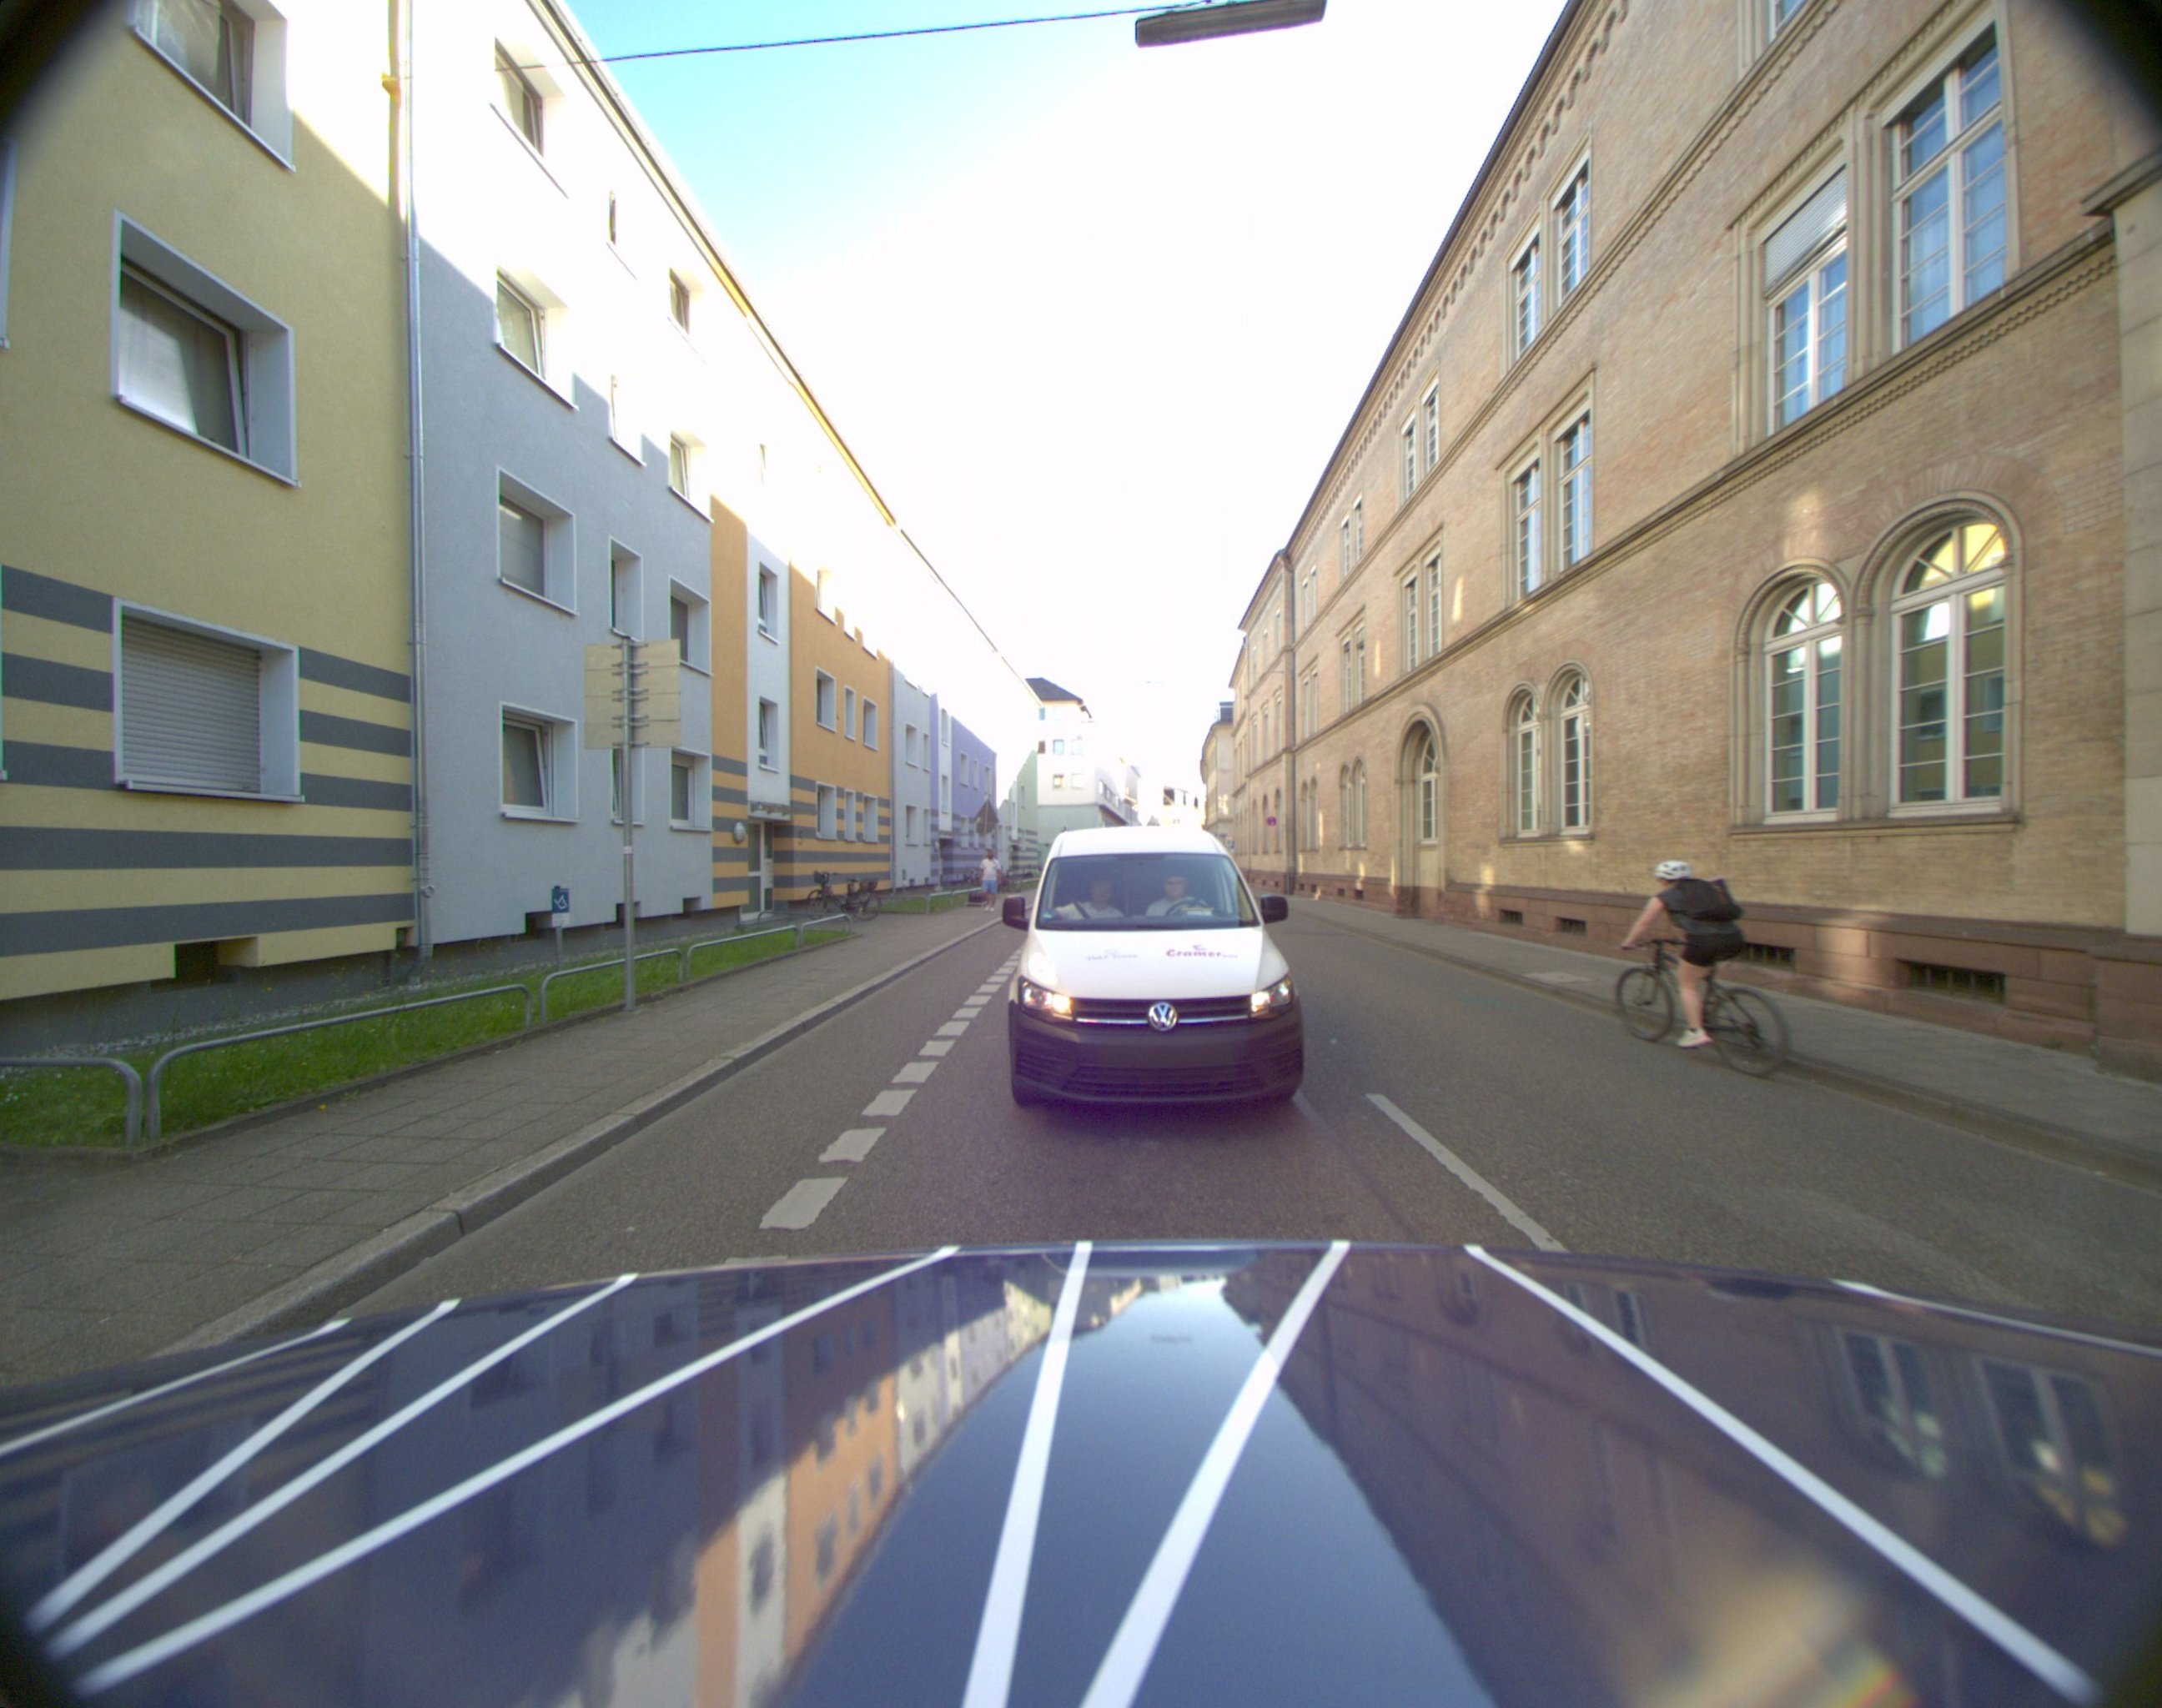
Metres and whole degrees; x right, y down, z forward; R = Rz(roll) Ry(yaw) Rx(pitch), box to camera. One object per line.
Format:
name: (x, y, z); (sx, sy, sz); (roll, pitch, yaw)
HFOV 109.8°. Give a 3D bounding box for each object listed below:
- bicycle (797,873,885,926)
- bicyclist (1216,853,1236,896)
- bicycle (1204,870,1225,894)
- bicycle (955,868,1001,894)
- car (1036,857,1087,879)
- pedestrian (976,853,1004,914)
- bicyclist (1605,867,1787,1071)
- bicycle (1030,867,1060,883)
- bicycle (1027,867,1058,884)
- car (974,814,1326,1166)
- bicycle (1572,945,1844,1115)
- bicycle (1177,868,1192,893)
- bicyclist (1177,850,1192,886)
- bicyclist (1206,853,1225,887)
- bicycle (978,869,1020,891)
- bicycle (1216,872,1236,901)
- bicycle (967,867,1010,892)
bicycle: (-5.391, 1.021, 17.115); (1.776, 1.118, 0.583); (1, 1, -1)
bicyclist: (5.396, 0.750, 28.320); (0.651, 1.558, 0.961); (2, 0, 8)
bicycle: (6.089, 1.247, 34.637); (0.651, 1.001, 1.876); (2, 0, 2)
bicycle: (-4.322, 1.123, 31.871); (1.775, 0.990, 0.584); (1, 1, 7)
car: (-1.590, 1.161, 63.488); (3.995, 1.681, 1.901); (-2, 1, 5)
pedestrian: (-2.524, 0.804, 21.189); (0.644, 1.662, 0.834); (1, 0, 3)
bicyclist: (4.819, 0.855, 6.019); (0.687, 1.467, 0.871); (2, 0, 1)
bicycle: (-2.231, 1.328, 47.622); (1.775, 0.934, 0.584); (1, 1, 7)
bicycle: (-2.311, 1.296, 46.085); (1.775, 0.934, 0.584); (1, 1, 7)
car: (0.394, 0.717, 6.623); (1.819, 1.825, 5.341); (0, 0, 1)
bicycle: (4.826, 1.302, 6.043); (0.687, 0.919, 1.766); (2, 0, 1)
bicycle: (4.407, 1.133, 32.470); (0.546, 1.001, 1.758); (2, 0, 7)
bicyclist: (4.436, 0.601, 32.609); (0.546, 1.524, 0.870); (2, 0, 7)
bicyclist: (6.116, 0.737, 34.604); (0.651, 1.500, 1.111); (2, 0, 2)
bicycle: (-3.655, 1.151, 33.830); (1.775, 0.934, 0.584); (1, 1, 7)
bicycle: (5.395, 1.188, 28.356); (0.651, 1.001, 1.808); (2, 0, 9)
bicycle: (-4.045, 1.113, 33.214); (1.775, 0.990, 0.584); (1, 1, 7)
